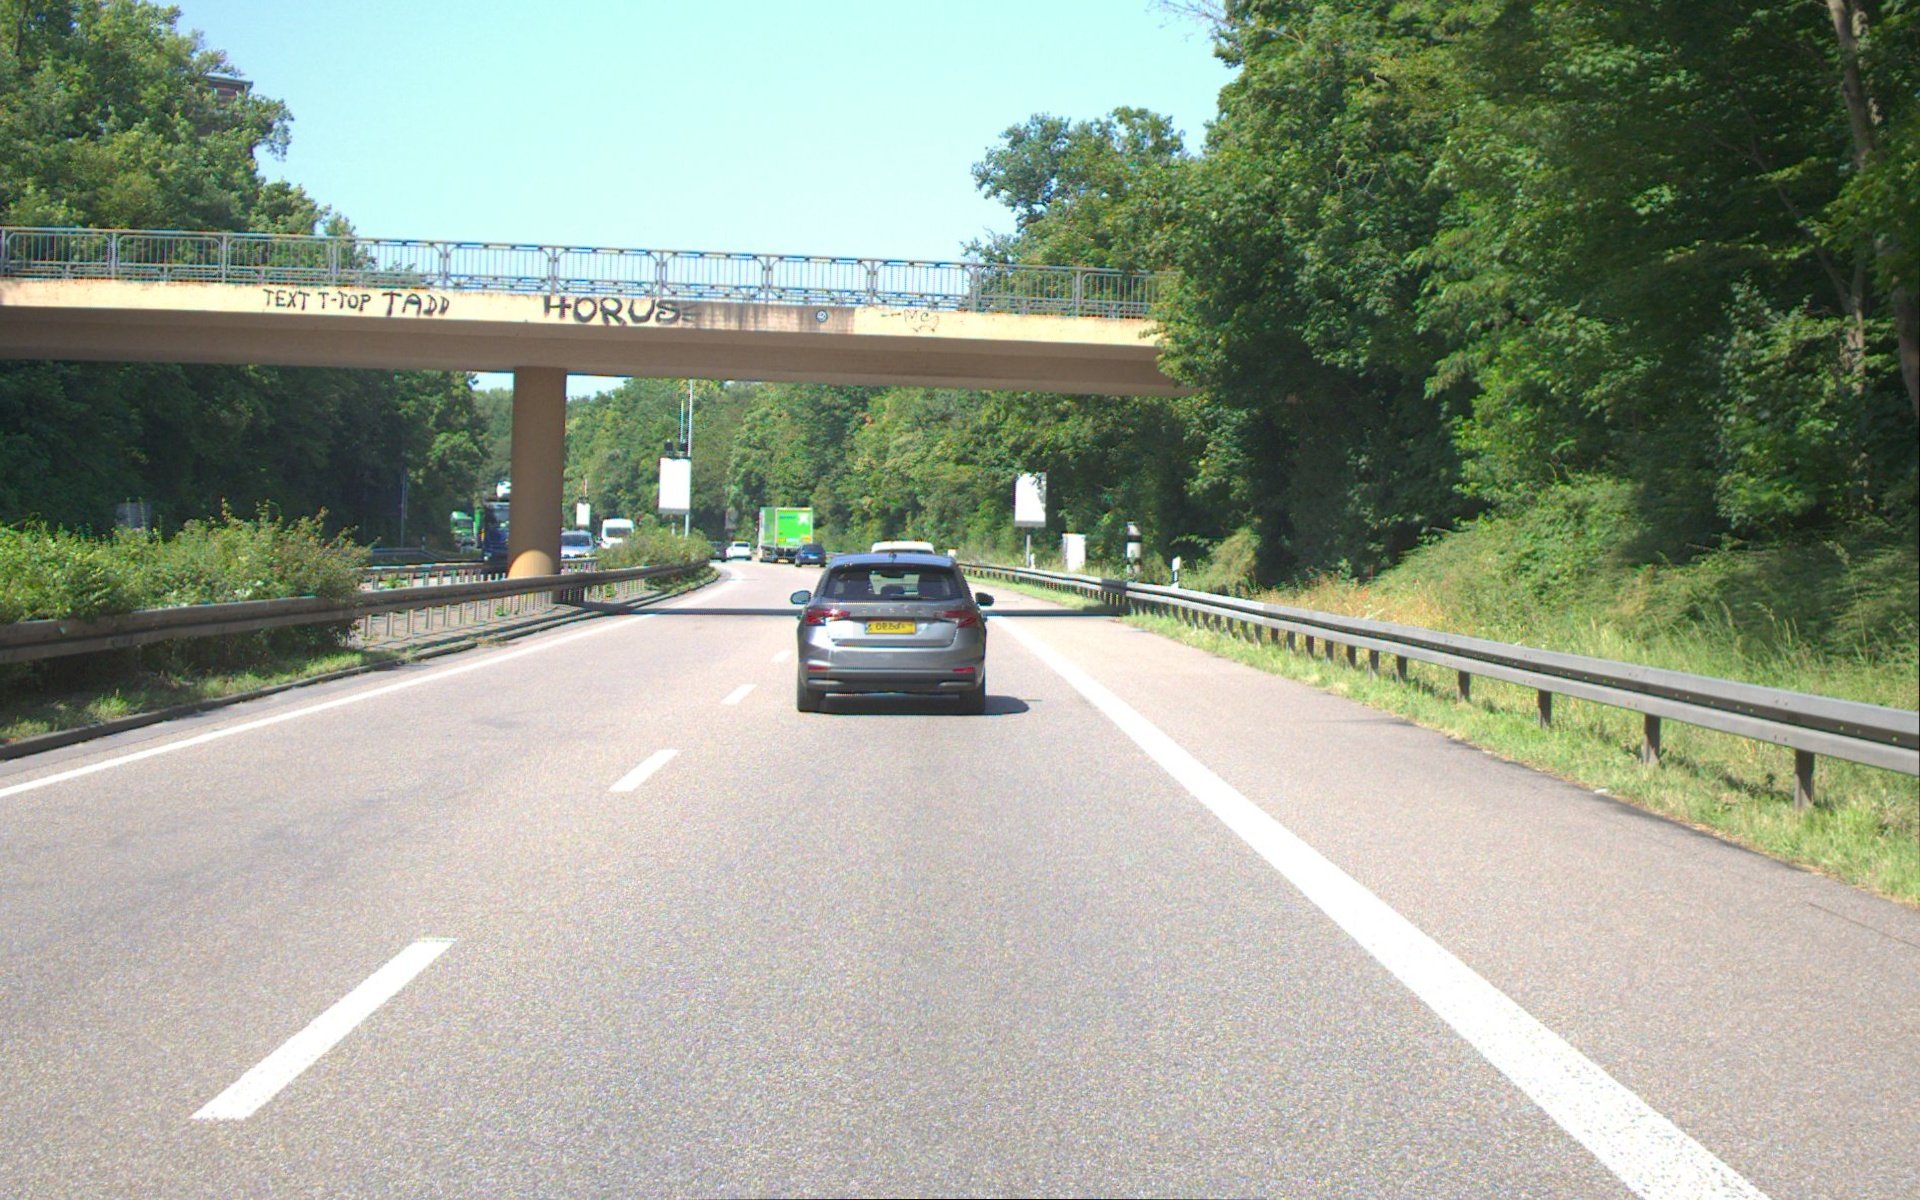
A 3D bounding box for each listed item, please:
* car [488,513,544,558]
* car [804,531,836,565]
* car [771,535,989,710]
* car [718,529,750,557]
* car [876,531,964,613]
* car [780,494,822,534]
[{"bbox_3d":[-20.082,-2.925,155.586,1.993,2.007,4.000,1,1,0],"label":"car"},{"bbox_3d":[-8.504,-3.170,209.194,1.763,2.007,3.587,1,1,0],"label":"car"},{"bbox_3d":[-0.684,0.160,31.679,1.840,1.467,3.623,1,1,1],"label":"car"},{"bbox_3d":[-16.276,-4.094,247.768,1.993,2.007,4.000,1,1,-1],"label":"car"},{"bbox_3d":[-0.733,-0.542,64.359,1.522,1.441,3.340,1,1,1],"label":"car"},{"bbox_3d":[-10.958,-5.917,236.926,2.748,2.645,4.000,1,1,-1],"label":"car"}]
